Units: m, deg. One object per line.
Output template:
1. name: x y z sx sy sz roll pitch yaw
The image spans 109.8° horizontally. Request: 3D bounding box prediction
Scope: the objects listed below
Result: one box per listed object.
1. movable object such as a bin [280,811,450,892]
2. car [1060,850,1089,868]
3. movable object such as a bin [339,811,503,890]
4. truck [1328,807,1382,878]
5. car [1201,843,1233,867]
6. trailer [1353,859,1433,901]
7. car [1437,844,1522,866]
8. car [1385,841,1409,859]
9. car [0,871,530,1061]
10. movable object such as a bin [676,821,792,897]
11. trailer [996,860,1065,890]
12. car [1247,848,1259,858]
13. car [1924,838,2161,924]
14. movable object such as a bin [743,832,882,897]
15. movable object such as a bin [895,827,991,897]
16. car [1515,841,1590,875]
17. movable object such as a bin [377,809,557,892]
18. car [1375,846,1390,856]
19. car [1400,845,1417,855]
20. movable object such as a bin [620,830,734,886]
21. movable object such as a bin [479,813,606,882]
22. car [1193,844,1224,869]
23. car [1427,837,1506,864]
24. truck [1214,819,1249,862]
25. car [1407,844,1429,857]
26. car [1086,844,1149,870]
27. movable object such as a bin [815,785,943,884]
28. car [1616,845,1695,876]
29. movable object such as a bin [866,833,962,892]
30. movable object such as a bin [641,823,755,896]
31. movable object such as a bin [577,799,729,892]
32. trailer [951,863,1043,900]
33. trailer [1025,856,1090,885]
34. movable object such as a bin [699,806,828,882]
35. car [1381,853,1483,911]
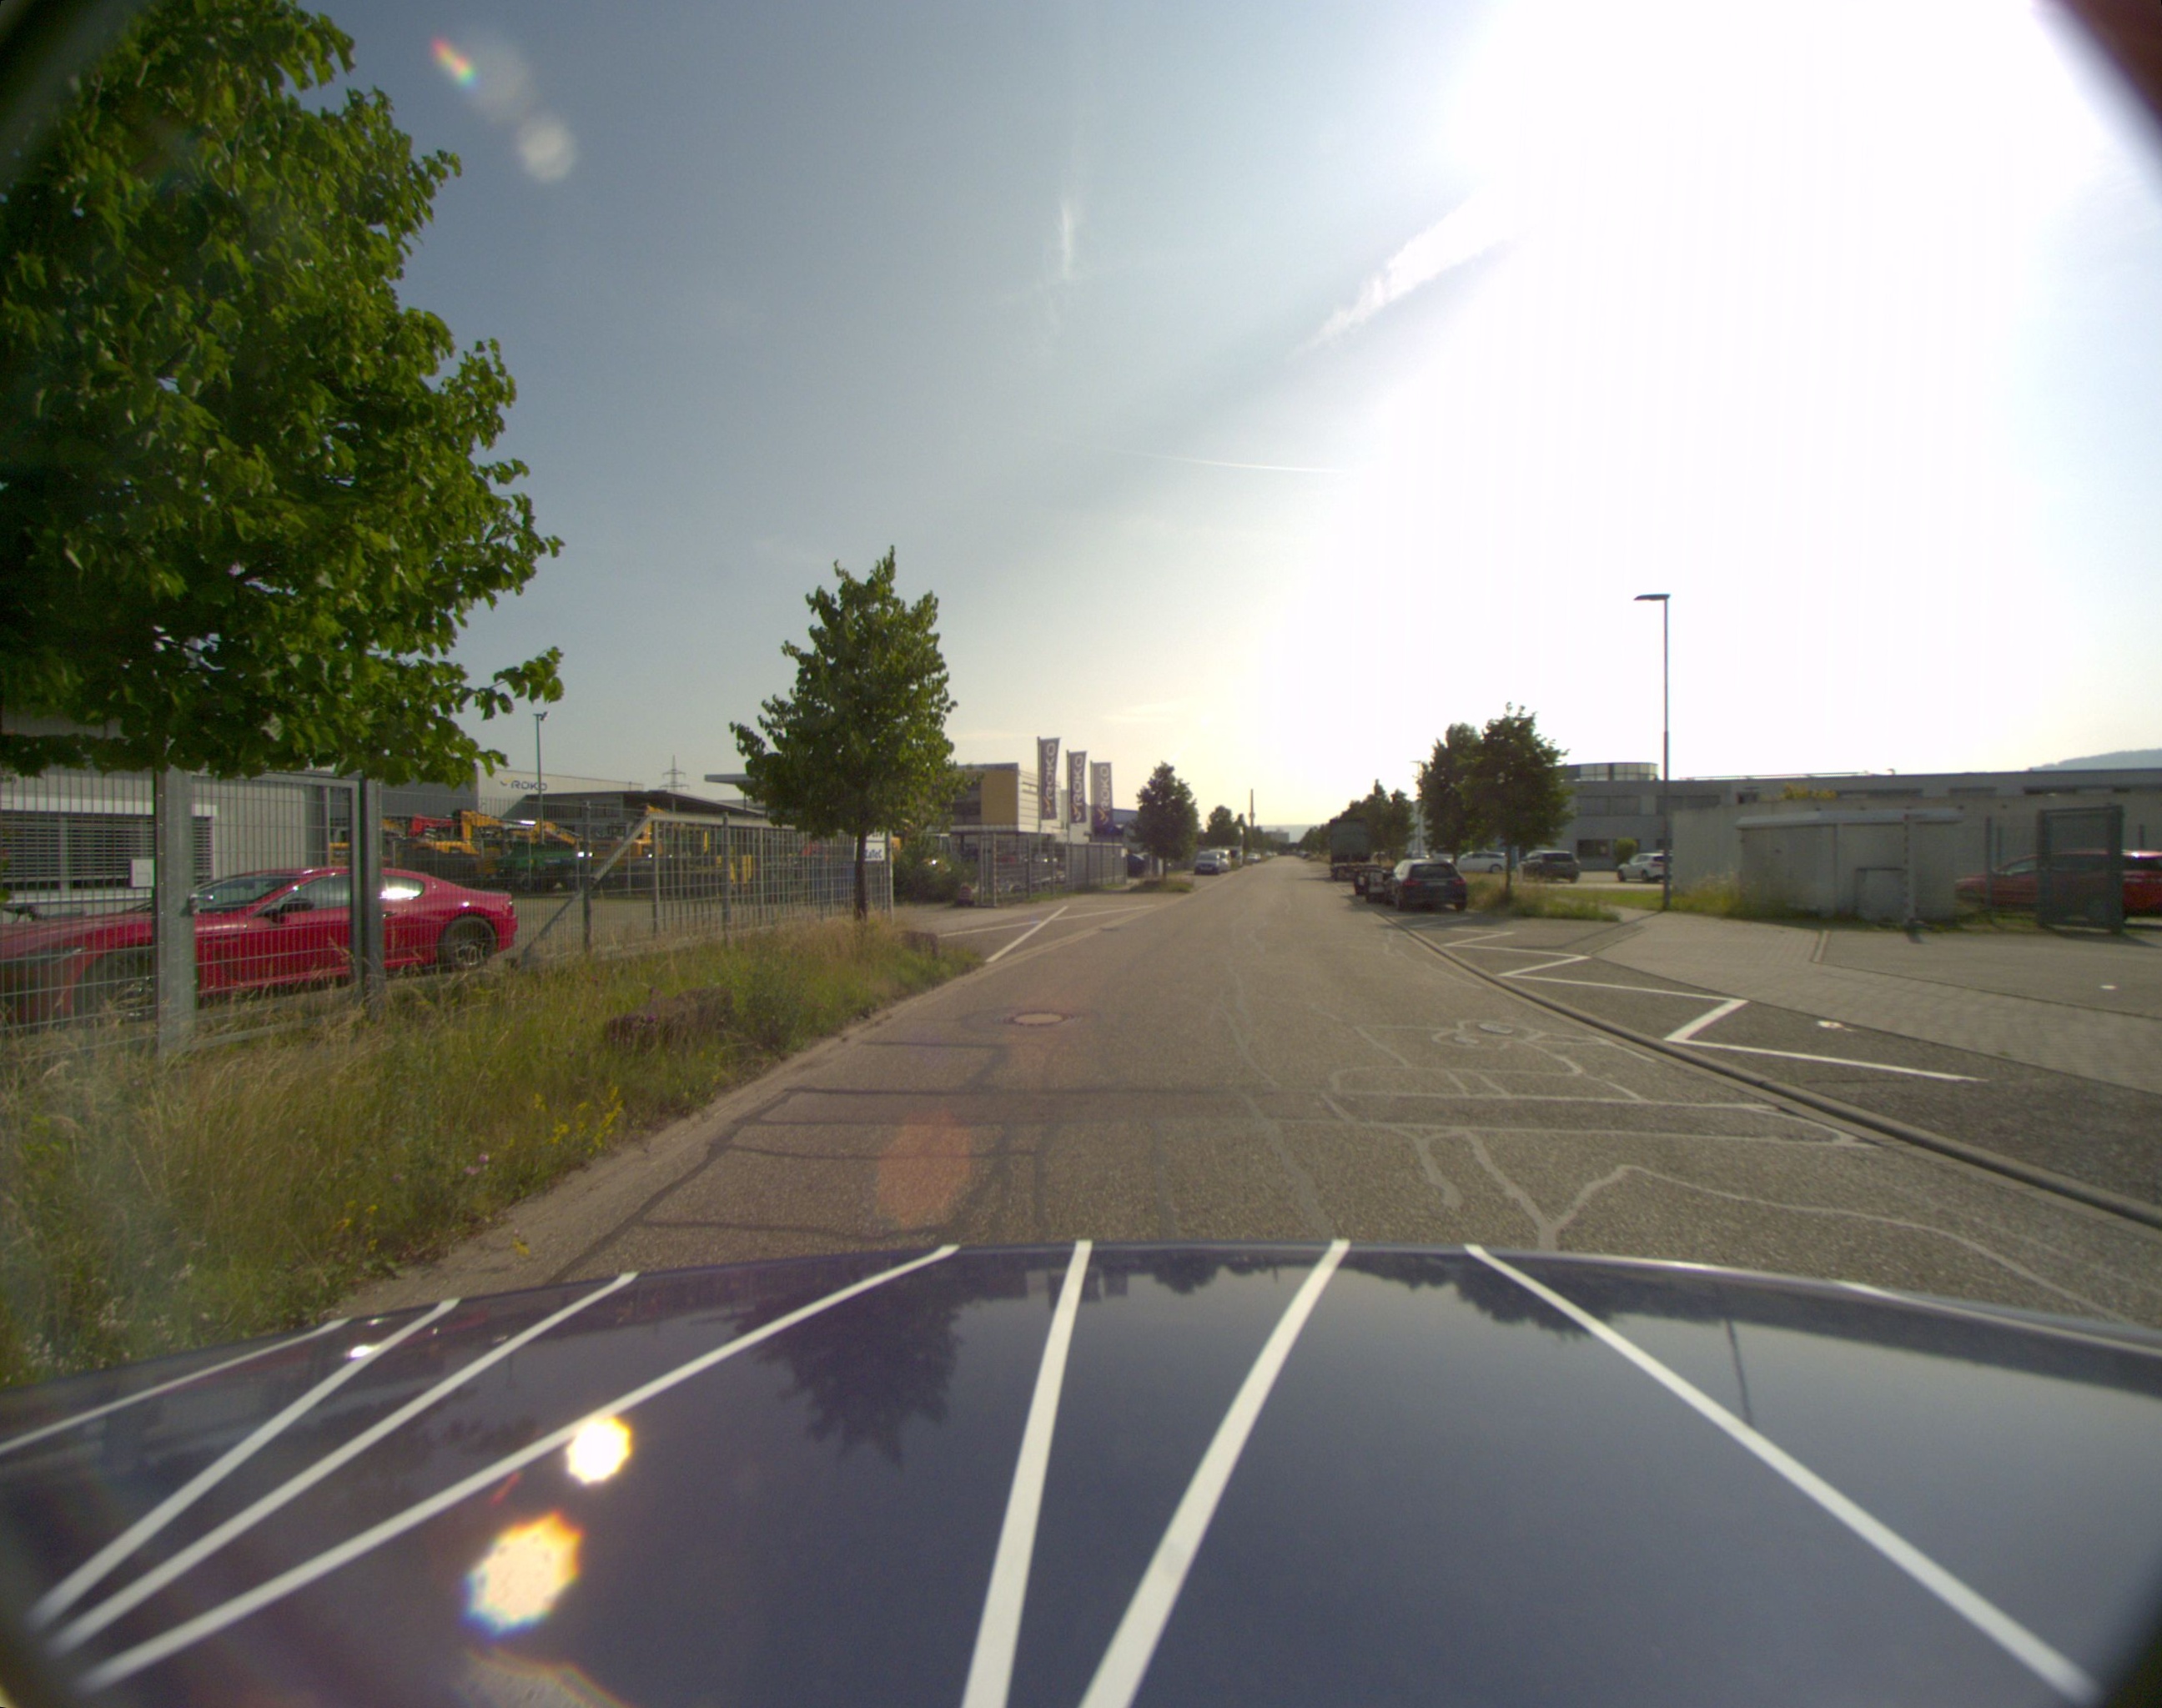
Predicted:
1. movable object such as a bin: -37.455 -0.167 40.066 2.455 3.907 6.147 0 1 12
2. car: -0.580 0.457 71.763 1.892 1.547 4.374 -1 0 10
3. movable object such as a bin: -34.114 -0.235 39.638 2.455 3.759 6.147 0 1 12
4. truck: 16.906 -0.734 47.350 2.458 3.859 9.813 -2 1 17
5. car: 10.898 0.077 60.587 1.996 1.779 4.604 -1 1 17
6. trailer: 11.386 0.879 28.194 2.132 1.225 7.166 -2 0 18
7. car: 26.907 0.046 51.421 4.733 1.423 2.002 -1 1 14
8. car: 36.188 -0.428 87.180 1.884 2.002 4.997 0 0 15
9. car: -9.022 0.948 8.324 1.883 1.350 4.777 -1 1 12
10. movable object such as a bin: -14.710 0.162 32.545 1.995 3.014 4.497 0 1 16
11. trailer: -2.232 0.932 35.089 1.947 1.236 4.298 0 1 14
12. car: 26.566 -0.180 117.134 1.666 1.495 3.545 2 1 15
13. car: 20.094 0.490 15.394 1.773 1.516 4.308 -1 -1 10
14. movable object such as a bin: -11.094 0.363 31.941 2.926 2.477 5.345 0 1 16
15. movable object such as a bin: -5.702 0.287 32.177 1.889 2.736 5.165 0 1 16
16. car: 24.728 0.171 40.075 1.996 1.677 4.704 0 1 14
17. movable object such as a bin: -31.315 -0.226 39.221 2.470 3.907 7.208 0 1 12
18. car: 43.147 -0.431 108.797 1.756 1.401 3.923 -1 0 17
19. car: 46.408 -0.564 107.872 1.756 1.459 3.923 -1 0 17
20. movable object such as a bin: -21.259 0.182 40.379 2.057 2.753 5.696 0 0 14
21. movable object such as a bin: -32.480 -0.434 46.168 2.721 3.907 6.027 0 1 11
22. car: 9.407 0.165 55.753 1.828 1.710 4.252 -1 1 14
23. car: 27.377 -0.232 54.143 4.710 1.825 2.105 -1 1 16
24. truck: 15.208 -1.332 76.168 2.749 3.992 9.696 2 1 15
25. car: 42.377 -0.495 95.620 1.945 1.597 4.514 -1 0 15
26. car: 2.569 0.220 53.019 4.232 1.727 1.900 -1 1 8
27. movable object such as a bin: -10.556 -0.933 40.841 3.321 4.778 7.681 0 0 14
28. car: 29.492 0.300 39.137 1.707 1.507 4.217 0 1 14
29. movable object such as a bin: -7.408 0.330 34.262 1.995 2.444 4.770 0 1 19
30. movable object such as a bin: -16.820 0.194 33.647 1.995 3.014 4.378 0 1 16
31. movable object such as a bin: -19.187 -0.381 34.491 2.687 3.851 5.724 0 1 16
32. trailer: -3.231 1.045 30.413 2.129 1.236 4.800 0 1 14
33. trailer: -1.143 0.834 39.711 1.996 1.303 4.568 -1 1 16
34. movable object such as a bin: -17.652 -0.539 42.873 2.922 3.906 7.215 0 0 14
35. car: 10.105 0.740 22.211 1.996 1.458 4.437 -2 0 16
